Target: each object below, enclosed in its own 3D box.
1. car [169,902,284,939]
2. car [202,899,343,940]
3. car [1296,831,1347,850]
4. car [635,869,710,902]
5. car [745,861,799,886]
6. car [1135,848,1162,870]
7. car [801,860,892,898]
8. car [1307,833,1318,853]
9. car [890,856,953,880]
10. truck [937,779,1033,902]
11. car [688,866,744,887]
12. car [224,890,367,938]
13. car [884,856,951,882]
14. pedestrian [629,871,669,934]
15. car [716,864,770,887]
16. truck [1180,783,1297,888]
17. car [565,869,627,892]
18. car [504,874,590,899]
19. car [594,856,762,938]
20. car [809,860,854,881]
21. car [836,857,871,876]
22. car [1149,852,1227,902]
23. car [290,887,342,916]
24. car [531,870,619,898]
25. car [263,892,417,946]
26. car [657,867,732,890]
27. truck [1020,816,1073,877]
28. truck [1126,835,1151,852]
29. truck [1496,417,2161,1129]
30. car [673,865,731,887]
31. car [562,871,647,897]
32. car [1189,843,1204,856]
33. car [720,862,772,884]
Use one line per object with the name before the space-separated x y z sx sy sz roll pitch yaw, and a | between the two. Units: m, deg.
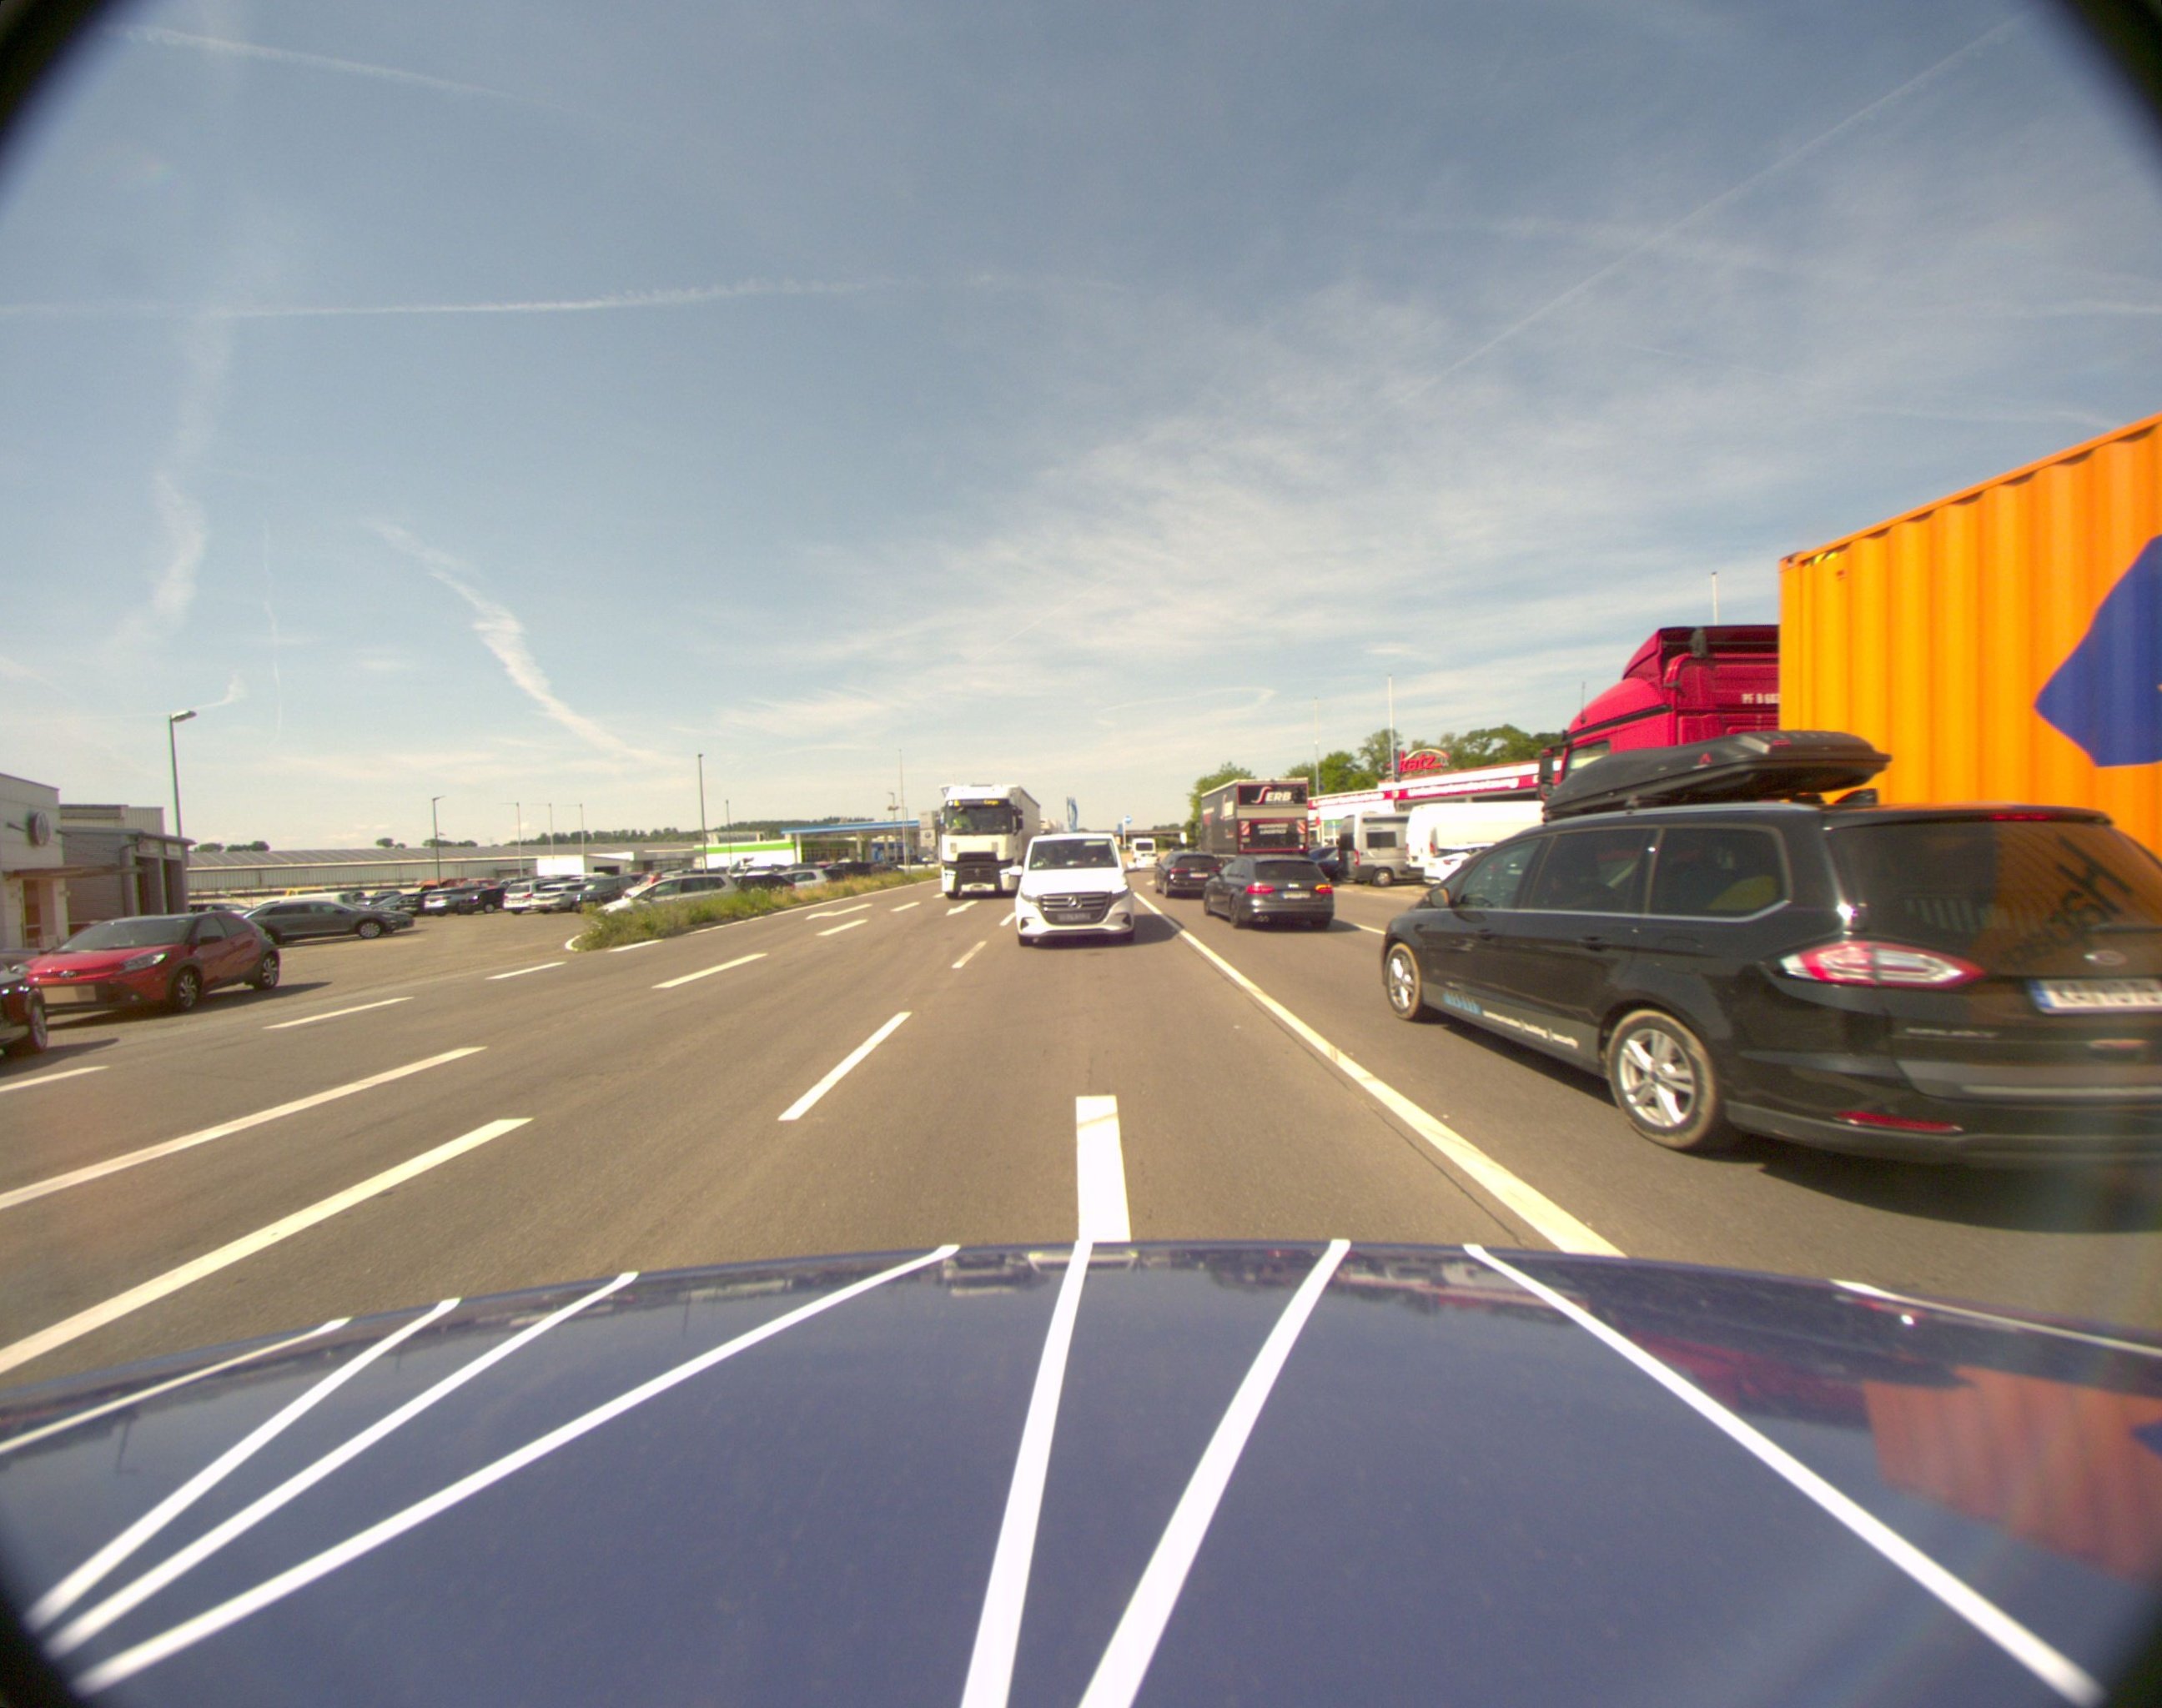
car | -48.432 3.742 43.142 3.913 1.720 1.982 -2 1 -7
car | -37.473 2.982 35.356 4.082 1.483 1.772 -2 1 -28
car | 24.210 -1.372 76.486 4.539 1.644 1.873 -3 1 -18
car | -24.003 1.817 44.830 1.774 1.645 4.434 -2 1 4
car | -23.389 1.452 57.712 1.774 1.645 4.539 -2 1 6
car | 4.843 0.330 54.985 1.657 1.547 4.000 0 1 1
car | -11.828 1.222 38.359 4.006 1.645 1.772 -2 1 -32
car | 22.013 -1.069 72.295 0.881 1.825 0.846 -2 1 13
car | -12.468 1.071 59.435 4.543 1.645 1.772 -2 1 -25
truck | -3.329 -0.465 27.920 2.647 3.964 6.040 -2 1 0
car | -28.125 1.706 58.701 1.774 1.433 4.539 -2 1 6
car | -38.878 2.917 37.758 4.544 1.937 1.772 -2 1 -28
car | -12.206 1.091 56.623 4.543 1.645 1.772 -2 1 -26
pedestrian | -13.821 1.524 24.307 0.990 1.901 0.742 -3 1 -34
car | -25.821 1.591 58.280 1.689 1.517 4.539 -2 1 6
truck | 6.732 -0.769 34.269 2.718 3.975 9.972 -2 1 -2
car | -39.977 2.192 62.685 4.527 1.718 2.072 -2 1 24
car | -36.975 2.228 52.747 1.819 1.466 4.544 -2 1 22
car | -12.374 1.229 23.533 4.355 2.200 1.759 -2 1 -29
car | -20.516 1.329 62.779 1.774 1.571 4.539 -2 1 6
car | -22.235 1.201 74.294 1.712 1.703 4.261 -2 1 6
car | 3.313 0.662 24.247 1.716 1.435 4.377 0 1 -2
car | -58.466 3.594 58.053 4.148 1.920 2.215 -1 1 37
car | -33.612 1.975 50.633 1.819 1.574 4.544 -2 1 22
car | -28.245 2.419 29.170 4.084 1.645 1.771 -2 1 -41
car | -27.582 1.742 54.287 4.530 1.450 1.951 -2 1 12
truck | -2.318 -0.557 54.914 2.646 3.964 9.240 -2 1 4
truck | 10.260 -1.945 135.029 2.438 2.820 6.050 -2 1 23
truck | 7.184 -0.488 7.358 2.728 3.975 6.054 -1 1 -4
car | -32.567 1.860 65.449 1.772 1.645 4.543 -2 1 16
car | -31.188 1.941 49.902 1.819 1.423 4.491 -2 1 22
car | 14.864 -0.592 98.250 1.827 1.517 4.461 0 1 7
car | -28.085 1.545 63.842 1.773 1.645 4.540 -2 1 9
